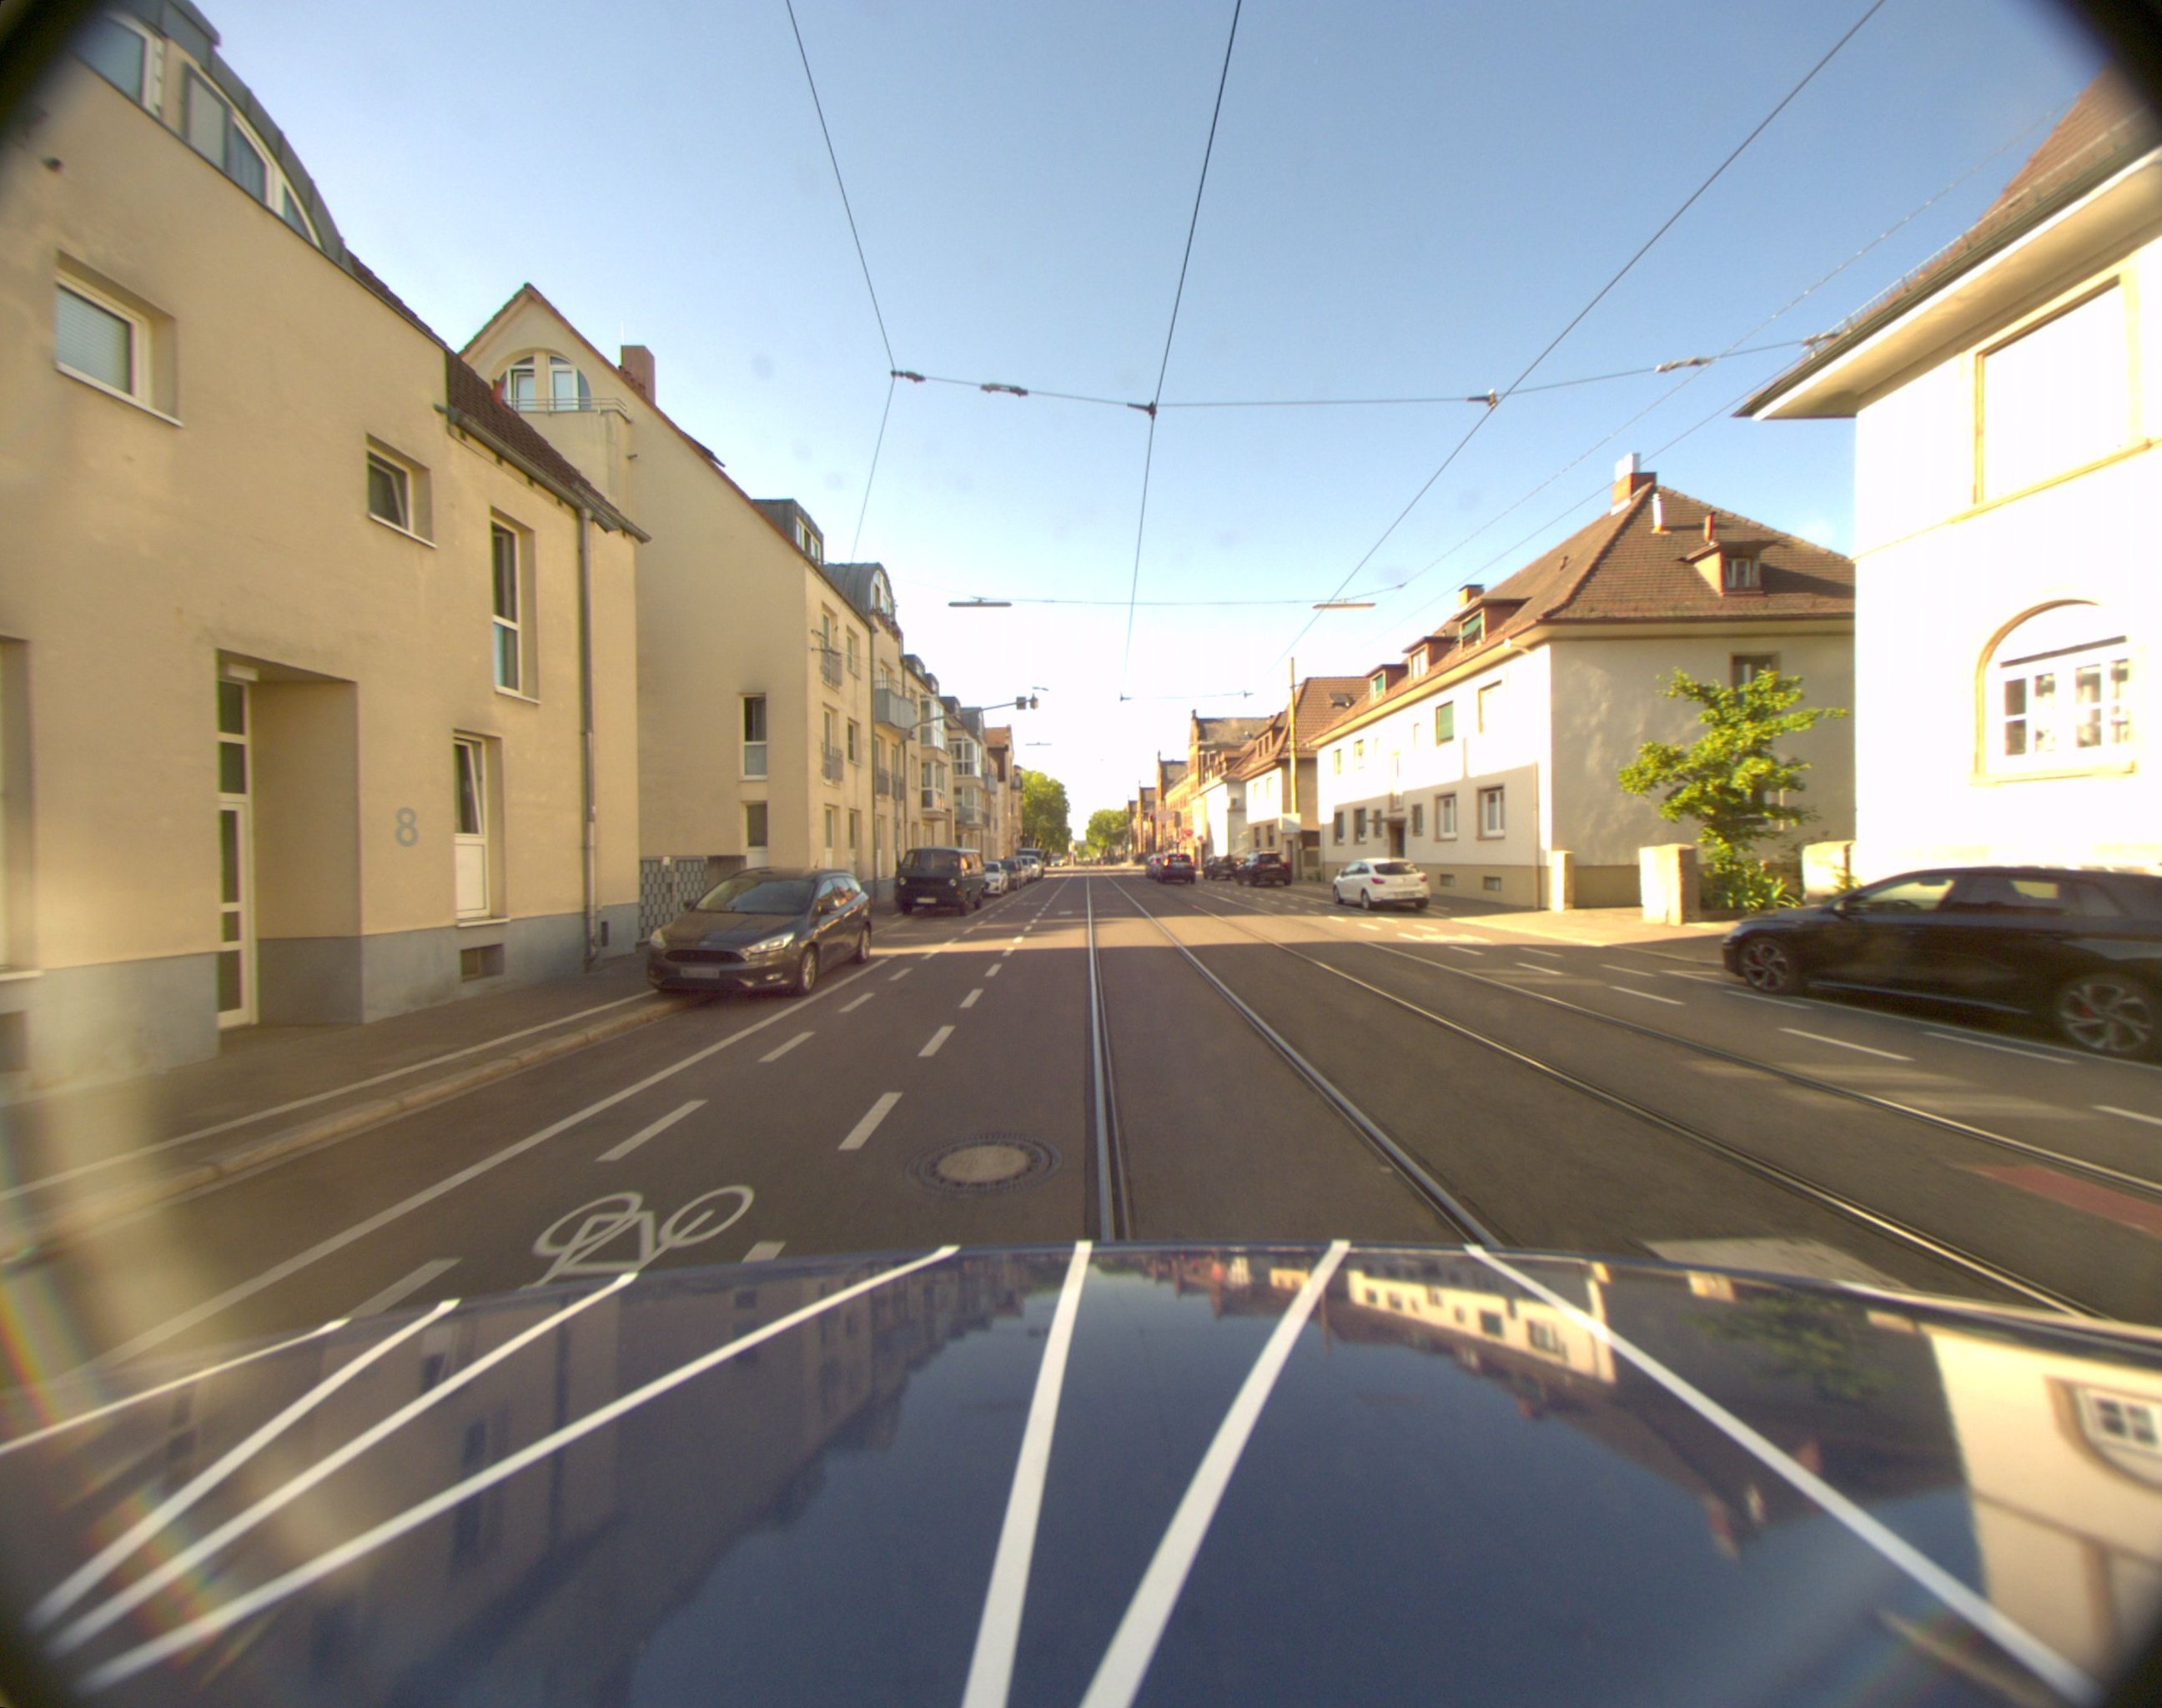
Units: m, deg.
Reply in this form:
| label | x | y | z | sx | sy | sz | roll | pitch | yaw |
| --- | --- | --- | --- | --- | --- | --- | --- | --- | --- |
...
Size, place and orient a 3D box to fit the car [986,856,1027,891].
| label | x | y | z | sx | sy | sz | roll | pitch | yaw |
| --- | --- | --- | --- | --- | --- | --- | --- | --- | --- |
| car | -3.568 | 0.895 | 36.771 | 1.558 | 1.548 | 3.652 | -3 | 0 | 0 |

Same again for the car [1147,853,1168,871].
| label | x | y | z | sx | sy | sz | roll | pitch | yaw |
| --- | --- | --- | --- | --- | --- | --- | --- | --- | --- |
| car | 6.908 | 0.670 | 68.665 | 1.687 | 1.558 | 3.929 | 1 | 0 | 4 |

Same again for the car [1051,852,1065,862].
| label | x | y | z | sx | sy | sz | roll | pitch | yaw |
| --- | --- | --- | --- | --- | --- | --- | --- | --- | --- |
| car | -3.723 | 0.438 | 123.716 | 1.984 | 1.539 | 4.035 | -1 | -1 | 1 |

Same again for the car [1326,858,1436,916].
| label | x | y | z | sx | sy | sz | roll | pitch | yaw |
| --- | --- | --- | --- | --- | --- | --- | --- | --- | --- |
| car | 8.503 | 0.880 | 21.918 | 1.635 | 1.449 | 4.015 | 0 | 0 | 1 |

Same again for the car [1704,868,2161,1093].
| label | x | y | z | sx | sy | sz | roll | pitch | yaw |
| --- | --- | --- | --- | --- | --- | --- | --- | --- | --- |
| car | 8.295 | 0.919 | 6.876 | 1.667 | 1.468 | 4.249 | -1 | 0 | -3 |

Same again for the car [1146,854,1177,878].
| label | x | y | z | sx | sy | sz | roll | pitch | yaw |
| --- | --- | --- | --- | --- | --- | --- | --- | --- | --- |
| car | 5.197 | 0.725 | 49.378 | 1.621 | 1.452 | 4.075 | 0 | 0 | 1 |

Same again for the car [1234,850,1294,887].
| label | x | y | z | sx | sy | sz | roll | pitch | yaw |
| --- | --- | --- | --- | --- | --- | --- | --- | --- | --- |
| car | 8.801 | 0.647 | 36.947 | 1.766 | 1.695 | 4.555 | 0 | 0 | 0 |

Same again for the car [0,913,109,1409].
| label | x | y | z | sx | sy | sz | roll | pitch | yaw |
| --- | --- | --- | --- | --- | --- | --- | --- | --- | --- |
| car | -4.243 | 1.039 | 1.072 | 1.461 | 1.589 | 3.293 | -3 | 0 | -1 |

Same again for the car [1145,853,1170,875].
| label | x | y | z | sx | sy | sz | roll | pitch | yaw |
| --- | --- | --- | --- | --- | --- | --- | --- | --- | --- |
| car | 5.477 | 0.706 | 54.705 | 1.586 | 1.452 | 3.613 | 0 | 0 | 2 |

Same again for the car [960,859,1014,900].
| label | x | y | z | sx | sy | sz | roll | pitch | yaw |
| --- | --- | --- | --- | --- | --- | --- | --- | --- | --- |
| car | -3.833 | 0.993 | 31.485 | 1.681 | 1.482 | 4.172 | -3 | 0 | 0 |

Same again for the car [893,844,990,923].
| label | x | y | z | sx | sy | sz | roll | pitch | yaw |
| --- | --- | --- | --- | --- | --- | --- | --- | --- | --- |
| car | -3.925 | 0.765 | 22.131 | 1.910 | 1.975 | 4.562 | -3 | 0 | 0 |

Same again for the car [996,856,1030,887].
| label | x | y | z | sx | sy | sz | roll | pitch | yaw |
| --- | --- | --- | --- | --- | --- | --- | --- | --- | --- |
| car | -3.647 | 0.924 | 41.235 | 1.500 | 1.548 | 3.364 | -3 | 0 | 0 |

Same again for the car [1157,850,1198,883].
| label | x | y | z | sx | sy | sz | roll | pitch | yaw |
| --- | --- | --- | --- | --- | --- | --- | --- | --- | --- |
| car | 5.159 | 0.642 | 41.170 | 1.708 | 1.695 | 4.363 | 0 | 0 | 1 |

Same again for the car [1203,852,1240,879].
| label | x | y | z | sx | sy | sz | roll | pitch | yaw |
| --- | --- | --- | --- | --- | --- | --- | --- | --- | --- |
| car | 8.932 | 0.684 | 48.584 | 1.619 | 1.618 | 3.921 | 0 | 0 | 0 |

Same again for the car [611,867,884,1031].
| label | x | y | z | sx | sy | sz | roll | pitch | yaw |
| --- | --- | --- | --- | --- | --- | --- | --- | --- | --- |
| car | -4.114 | 1.045 | 10.297 | 1.749 | 1.589 | 4.433 | -3 | 0 | -1 |

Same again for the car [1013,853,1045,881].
| label | x | y | z | sx | sy | sz | roll | pitch | yaw |
| --- | --- | --- | --- | --- | --- | --- | --- | --- | --- |
| car | -3.486 | 0.838 | 51.335 | 1.743 | 1.736 | 4.255 | -3 | 0 | 1 |

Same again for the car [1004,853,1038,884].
| label | x | y | z | sx | sy | sz | roll | pitch | yaw |
| --- | --- | --- | --- | --- | --- | --- | --- | --- | --- |
| car | -3.599 | 0.836 | 45.911 | 1.606 | 1.690 | 3.989 | -3 | 0 | 1 |

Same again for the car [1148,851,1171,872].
| label | x | y | z | sx | sy | sz | roll | pitch | yaw |
| --- | --- | --- | --- | --- | --- | --- | --- | --- | --- |
| car | 6.375 | 0.571 | 62.083 | 1.742 | 1.602 | 4.716 | 0 | 0 | 5 |

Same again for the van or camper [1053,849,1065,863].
| label | x | y | z | sx | sy | sz | roll | pitch | yaw |
| --- | --- | --- | --- | --- | --- | --- | --- | --- | --- |
| van or camper | -3.883 | 0.455 | 134.412 | 1.998 | 2.346 | 5.600 | -1 | -1 | 0 |

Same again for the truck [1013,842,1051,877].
| label | x | y | z | sx | sy | sz | roll | pitch | yaw |
| --- | --- | --- | --- | --- | --- | --- | --- | --- | --- |
| truck | -3.652 | 0.397 | 57.842 | 2.301 | 2.463 | 6.146 | -1 | 0 | 1 |
